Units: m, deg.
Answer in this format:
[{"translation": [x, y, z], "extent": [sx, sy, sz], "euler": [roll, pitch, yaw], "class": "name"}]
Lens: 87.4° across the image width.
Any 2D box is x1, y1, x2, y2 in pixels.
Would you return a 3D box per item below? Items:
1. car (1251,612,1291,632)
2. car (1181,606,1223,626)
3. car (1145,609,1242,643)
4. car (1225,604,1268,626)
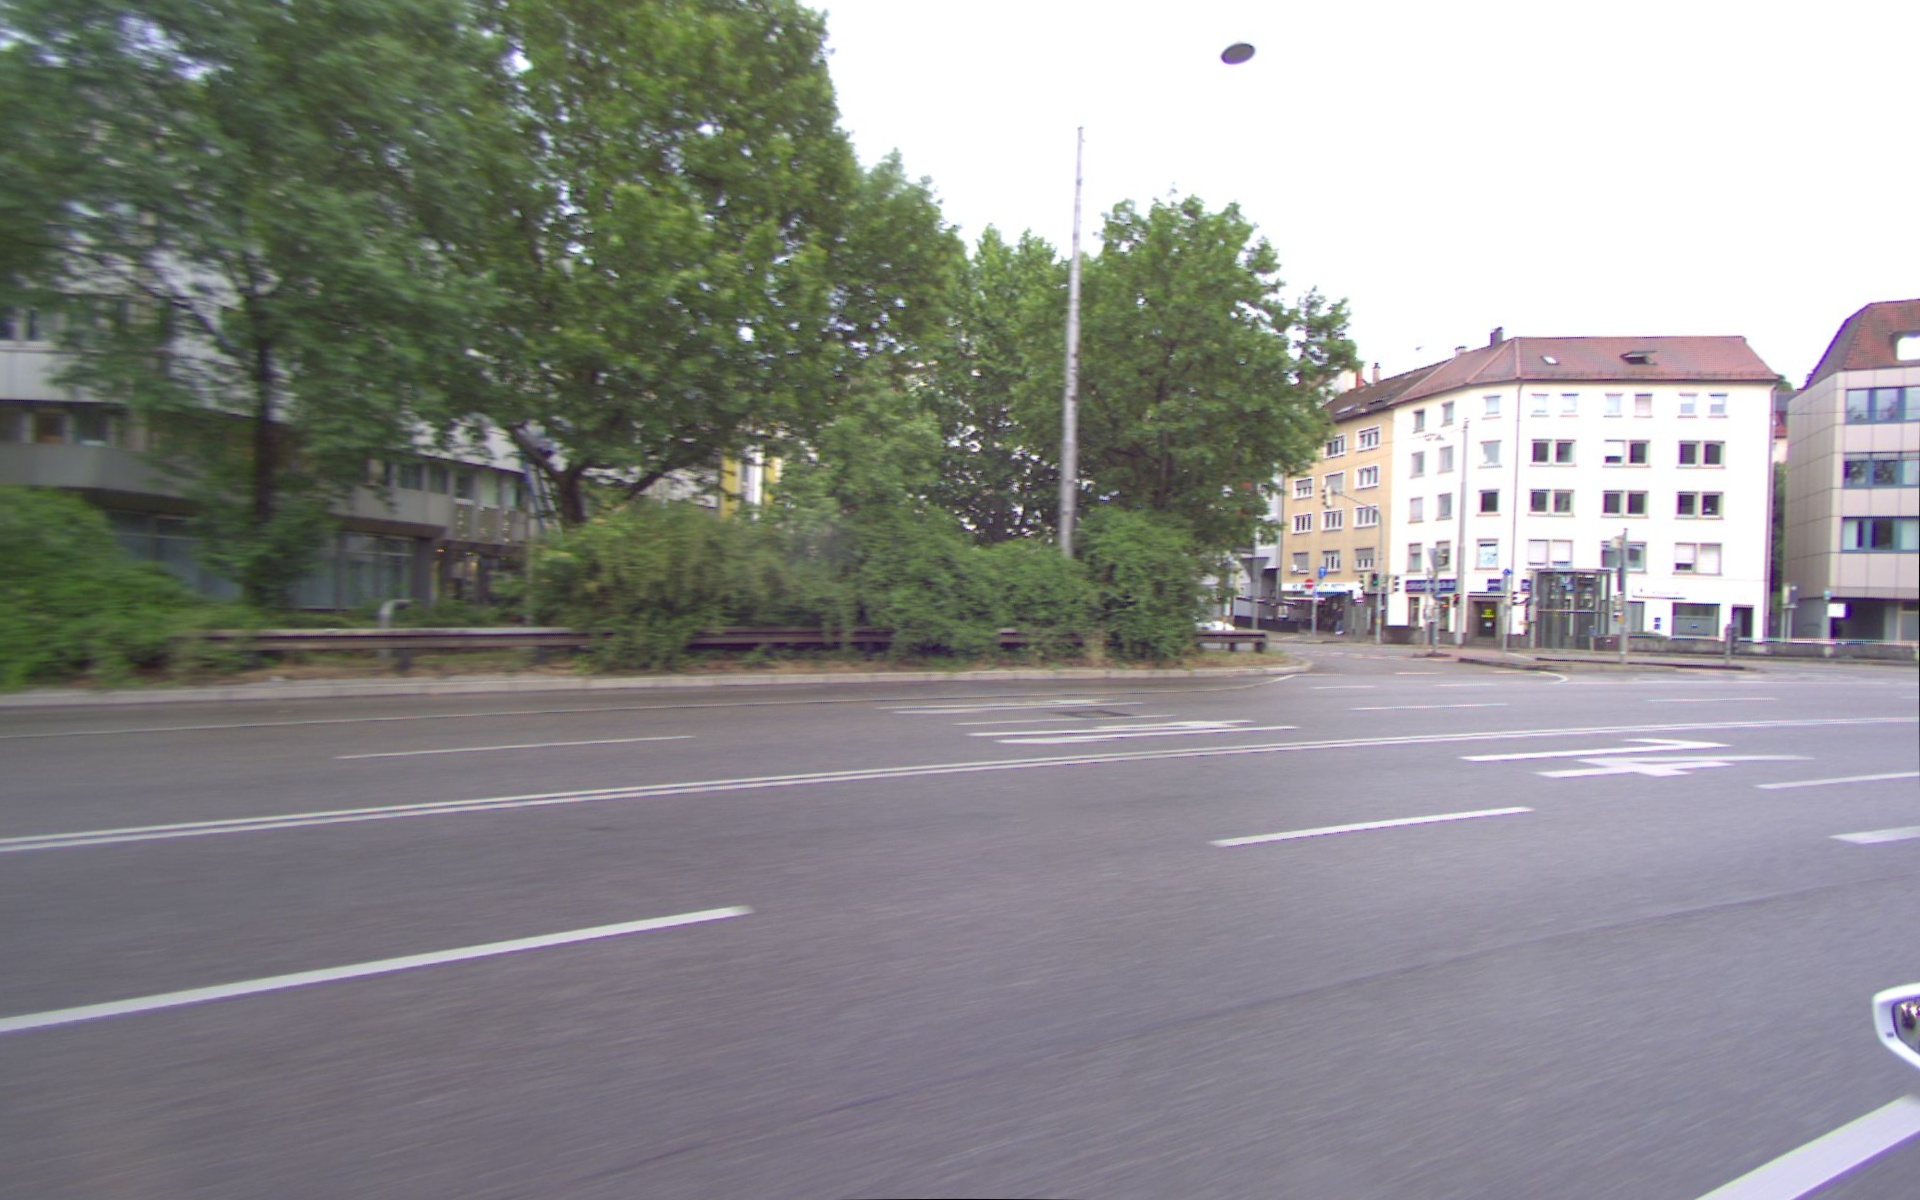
[{"translation": [22.933, 1.601, 74.216], "extent": [1.380, 1.246, 3.156], "euler": [2, 1, -13], "class": "car"}, {"translation": [20.812, 1.366, 86.584], "extent": [1.885, 1.611, 3.991], "euler": [2, -1, -13], "class": "car"}, {"translation": [11.345, 1.252, 48.967], "extent": [4.171, 1.470, 1.988], "euler": [1, -2, 45], "class": "car"}, {"translation": [22.918, 1.210, 80.480], "extent": [1.730, 1.611, 3.788], "euler": [2, -1, -13], "class": "car"}]
